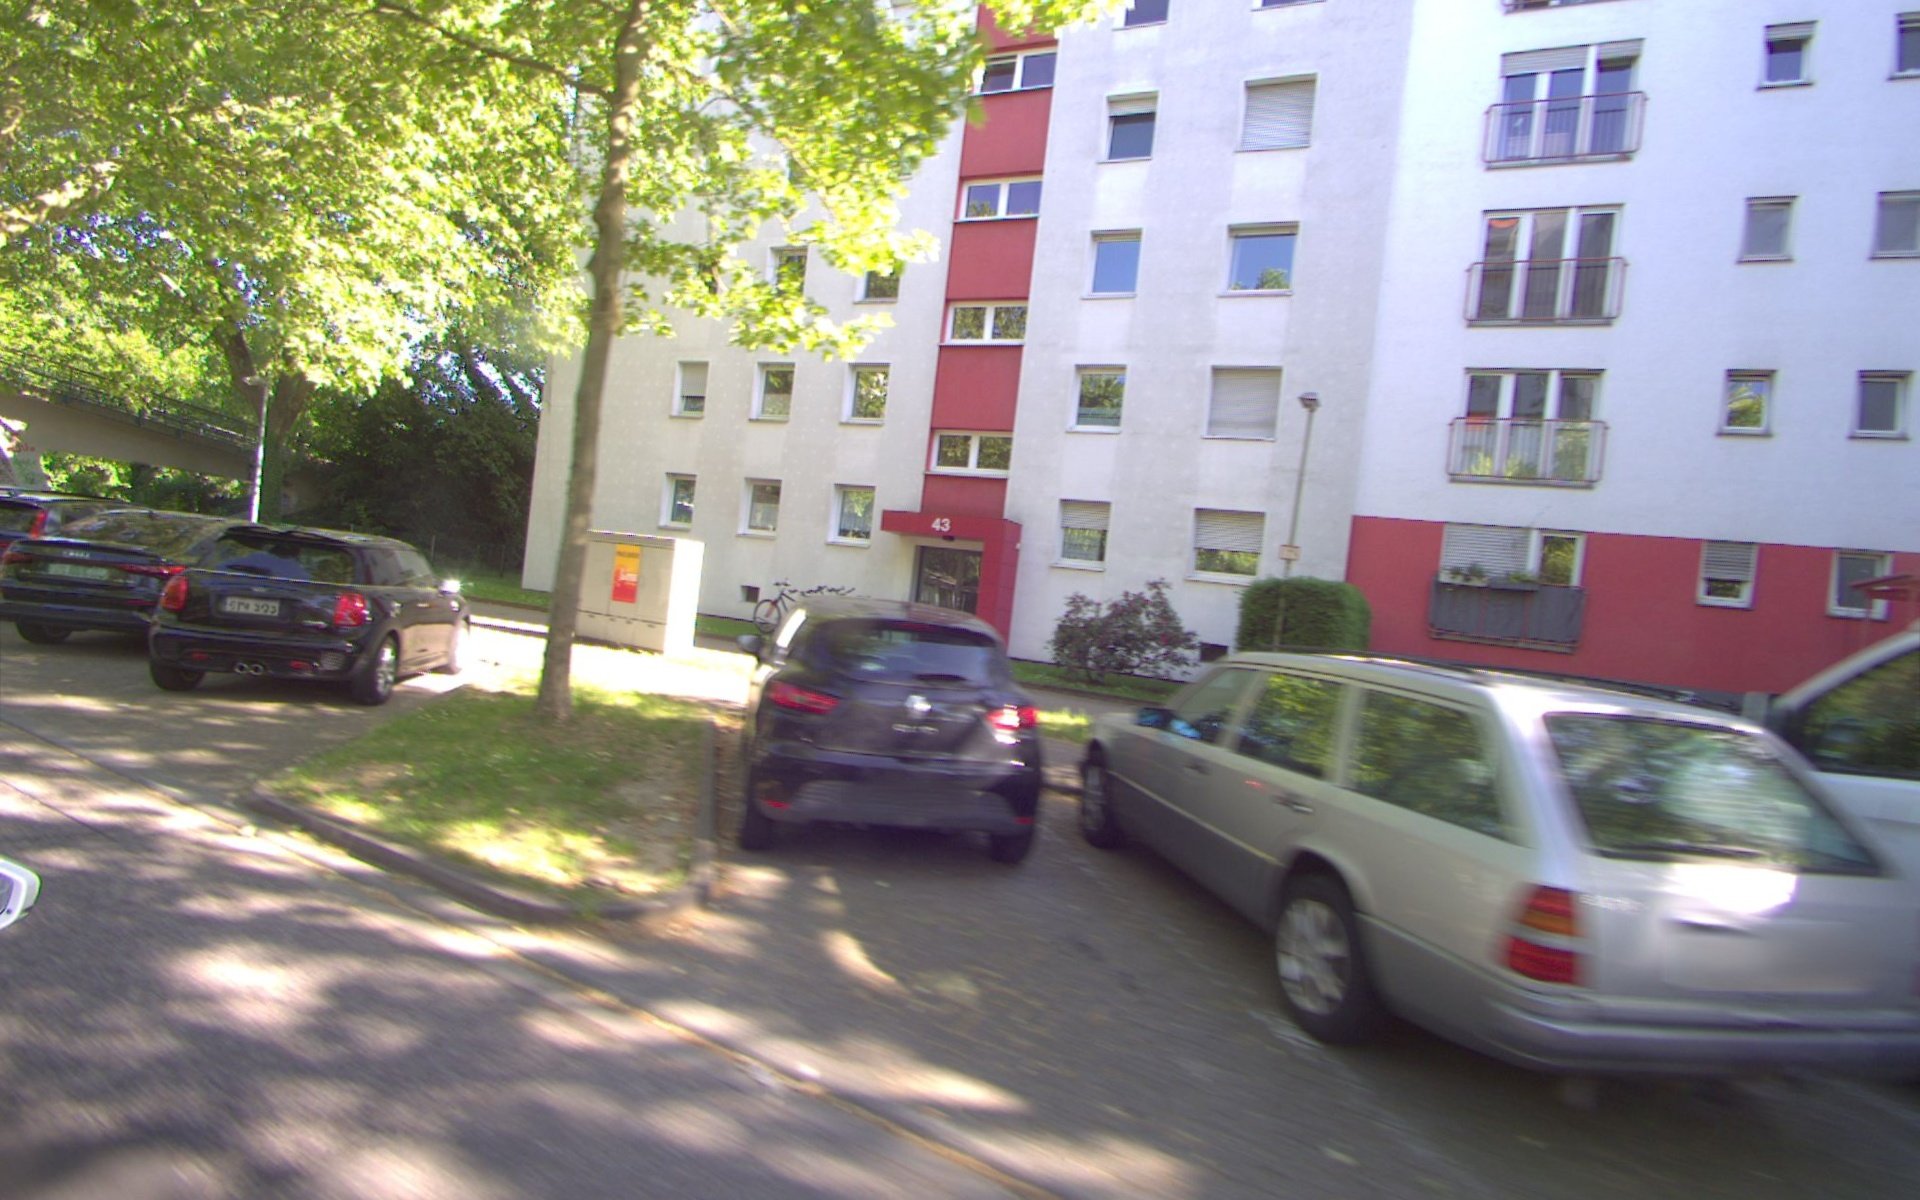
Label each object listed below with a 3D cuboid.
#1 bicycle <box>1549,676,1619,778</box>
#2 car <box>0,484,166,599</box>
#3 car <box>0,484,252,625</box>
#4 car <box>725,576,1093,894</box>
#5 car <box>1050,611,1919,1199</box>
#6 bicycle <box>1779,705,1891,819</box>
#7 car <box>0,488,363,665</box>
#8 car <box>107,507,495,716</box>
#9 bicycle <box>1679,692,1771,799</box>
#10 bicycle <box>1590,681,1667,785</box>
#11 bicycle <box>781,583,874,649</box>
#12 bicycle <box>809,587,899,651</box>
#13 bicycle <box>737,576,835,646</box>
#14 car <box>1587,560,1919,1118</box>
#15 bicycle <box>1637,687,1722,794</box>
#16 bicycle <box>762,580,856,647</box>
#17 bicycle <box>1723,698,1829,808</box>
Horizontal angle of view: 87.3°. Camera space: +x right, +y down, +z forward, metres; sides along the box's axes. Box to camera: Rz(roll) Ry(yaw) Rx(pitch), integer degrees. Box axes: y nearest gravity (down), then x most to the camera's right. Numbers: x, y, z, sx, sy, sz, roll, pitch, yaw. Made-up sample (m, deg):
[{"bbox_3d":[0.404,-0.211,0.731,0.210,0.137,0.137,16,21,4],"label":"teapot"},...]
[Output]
[{"bbox_3d":[8.536,1.699,13.809,0.491,1.145,1.796,7,3,25],"label":"bicycle"},{"bbox_3d":[-13.809,-0.926,14.777,1.771,1.481,3.987,6,1,-14],"label":"car"},{"bbox_3d":[-11.296,-0.637,12.982,1.769,1.481,4.246,6,1,-9],"label":"car"},{"bbox_3d":[-0.635,0.679,7.039,1.770,1.435,3.912,6,1,-12],"label":"car"},{"bbox_3d":[2.002,0.980,5.190,1.770,1.442,4.578,6,1,-11],"label":"car"},{"bbox_3d":[11.105,2.011,12.830,0.491,1.145,1.796,7,3,25],"label":"bicycle"},{"bbox_3d":[-8.623,-0.298,11.304,1.769,1.481,4.246,6,1,-9],"label":"car"},{"bbox_3d":[-6.056,0.028,9.861,1.753,1.487,3.988,6,1,-12],"label":"car"},{"bbox_3d":[10.169,1.896,13.435,0.491,1.145,1.796,7,3,25],"label":"bicycle"},{"bbox_3d":[9.018,1.759,13.626,0.491,1.145,1.796,7,3,25],"label":"bicycle"},{"bbox_3d":[-2.716,0.313,20.558,1.770,1.121,0.591,7,0,30],"label":"bicycle"},{"bbox_3d":[-2.252,0.397,21.283,1.770,1.121,0.591,7,0,30],"label":"bicycle"},{"bbox_3d":[-3.352,0.209,19.330,1.770,1.121,0.591,7,0,30],"label":"bicycle"},{"bbox_3d":[4.747,1.016,3.177,1.983,2.079,4.579,6,2,-9],"label":"car"},{"bbox_3d":[9.557,1.828,13.417,0.491,1.145,1.796,7,3,25],"label":"bicycle"},{"bbox_3d":[-3.007,0.265,19.974,1.770,1.121,0.590,7,1,30],"label":"bicycle"},{"bbox_3d":[10.676,1.962,13.219,0.540,1.145,1.796,7,3,25],"label":"bicycle"}]
